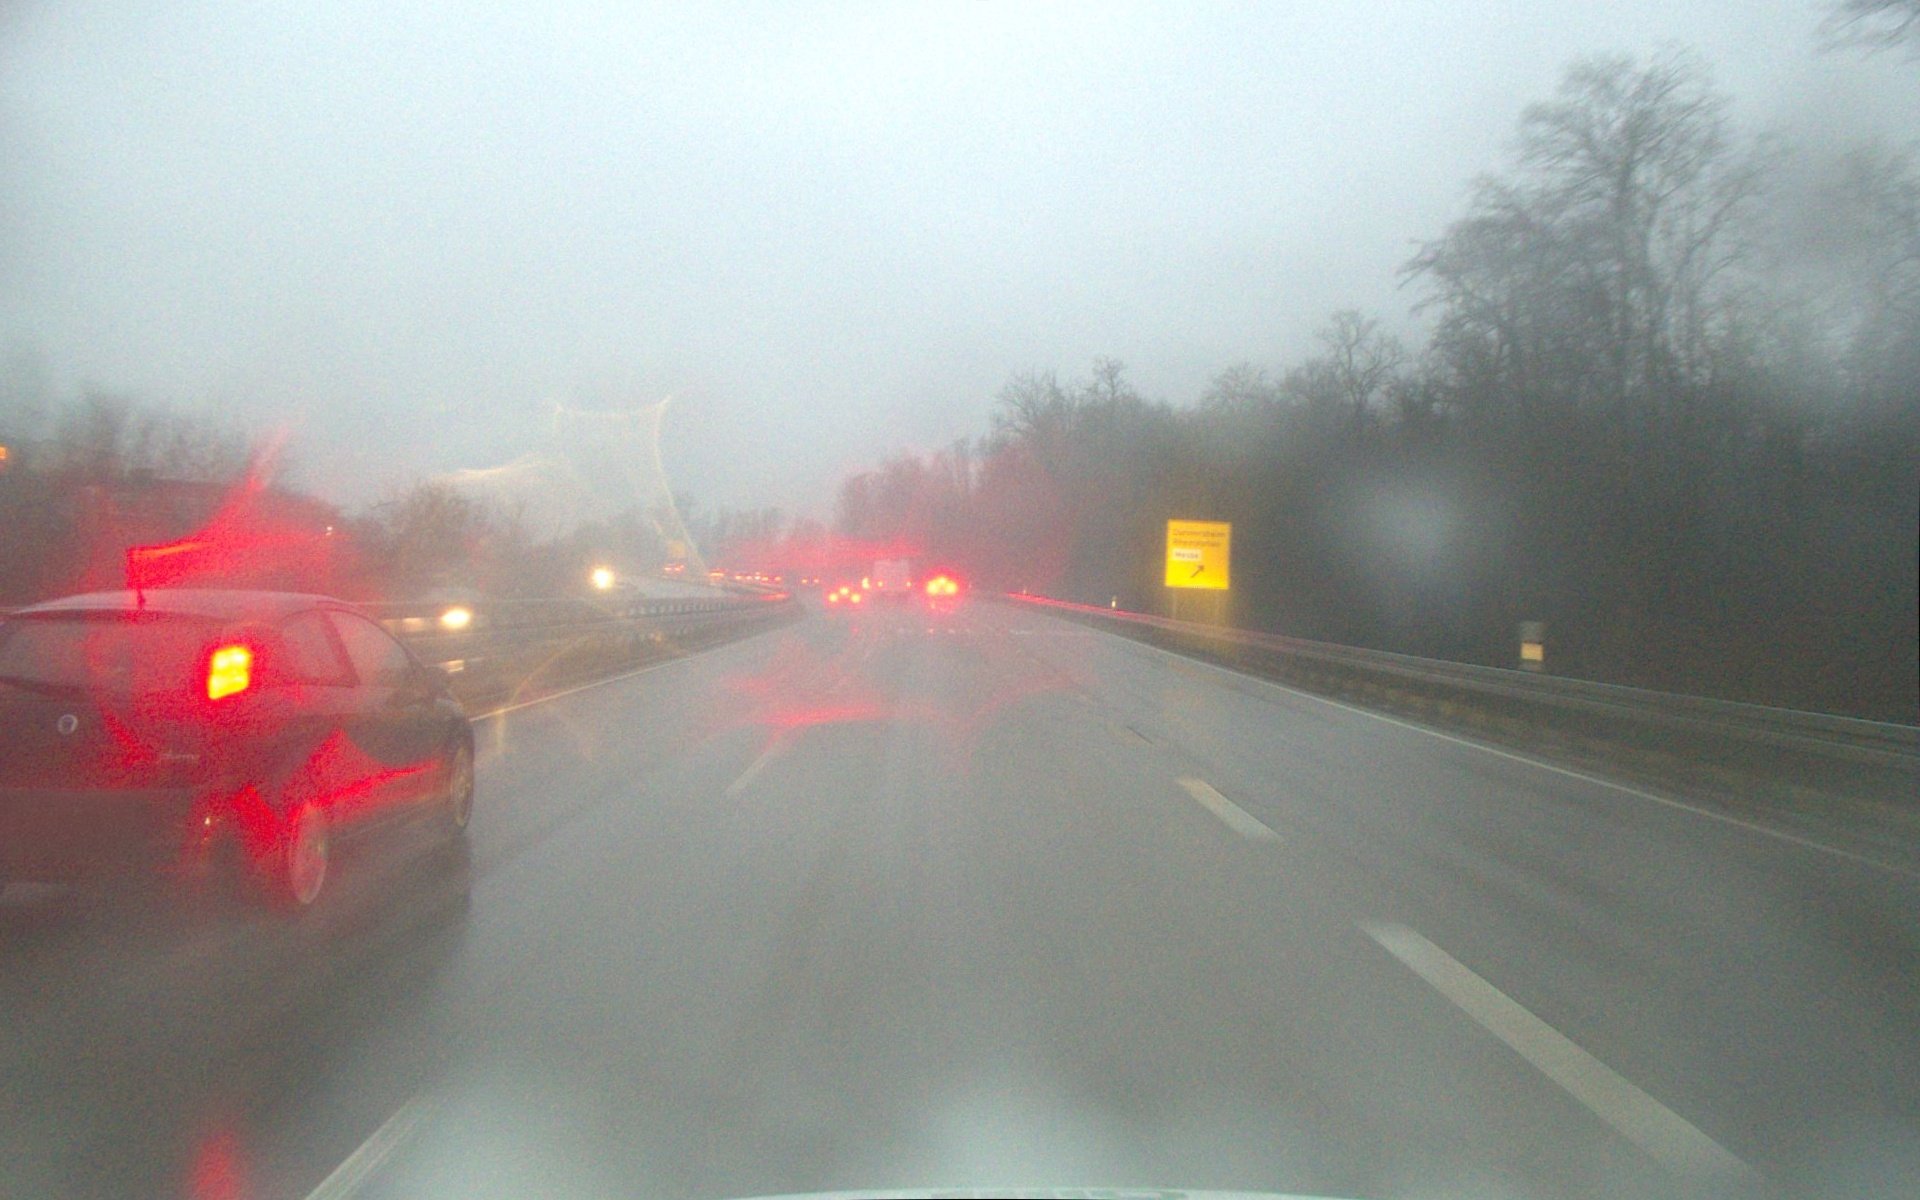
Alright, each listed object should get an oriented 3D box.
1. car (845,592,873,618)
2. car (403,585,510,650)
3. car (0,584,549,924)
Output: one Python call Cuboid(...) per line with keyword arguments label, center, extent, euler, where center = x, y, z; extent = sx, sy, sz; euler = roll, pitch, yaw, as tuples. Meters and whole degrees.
Cuboid(label="car", center=(-5.591, 0.263, 91.818), extent=(1.387, 1.340, 3.082), euler=(2, 0, -1))
Cuboid(label="car", center=(-13.746, 0.453, 45.414), extent=(1.728, 1.655, 4.524), euler=(1, 0, -3))
Cuboid(label="car", center=(-3.555, 0.681, 9.169), extent=(1.593, 1.416, 3.999), euler=(2, 0, -1))
